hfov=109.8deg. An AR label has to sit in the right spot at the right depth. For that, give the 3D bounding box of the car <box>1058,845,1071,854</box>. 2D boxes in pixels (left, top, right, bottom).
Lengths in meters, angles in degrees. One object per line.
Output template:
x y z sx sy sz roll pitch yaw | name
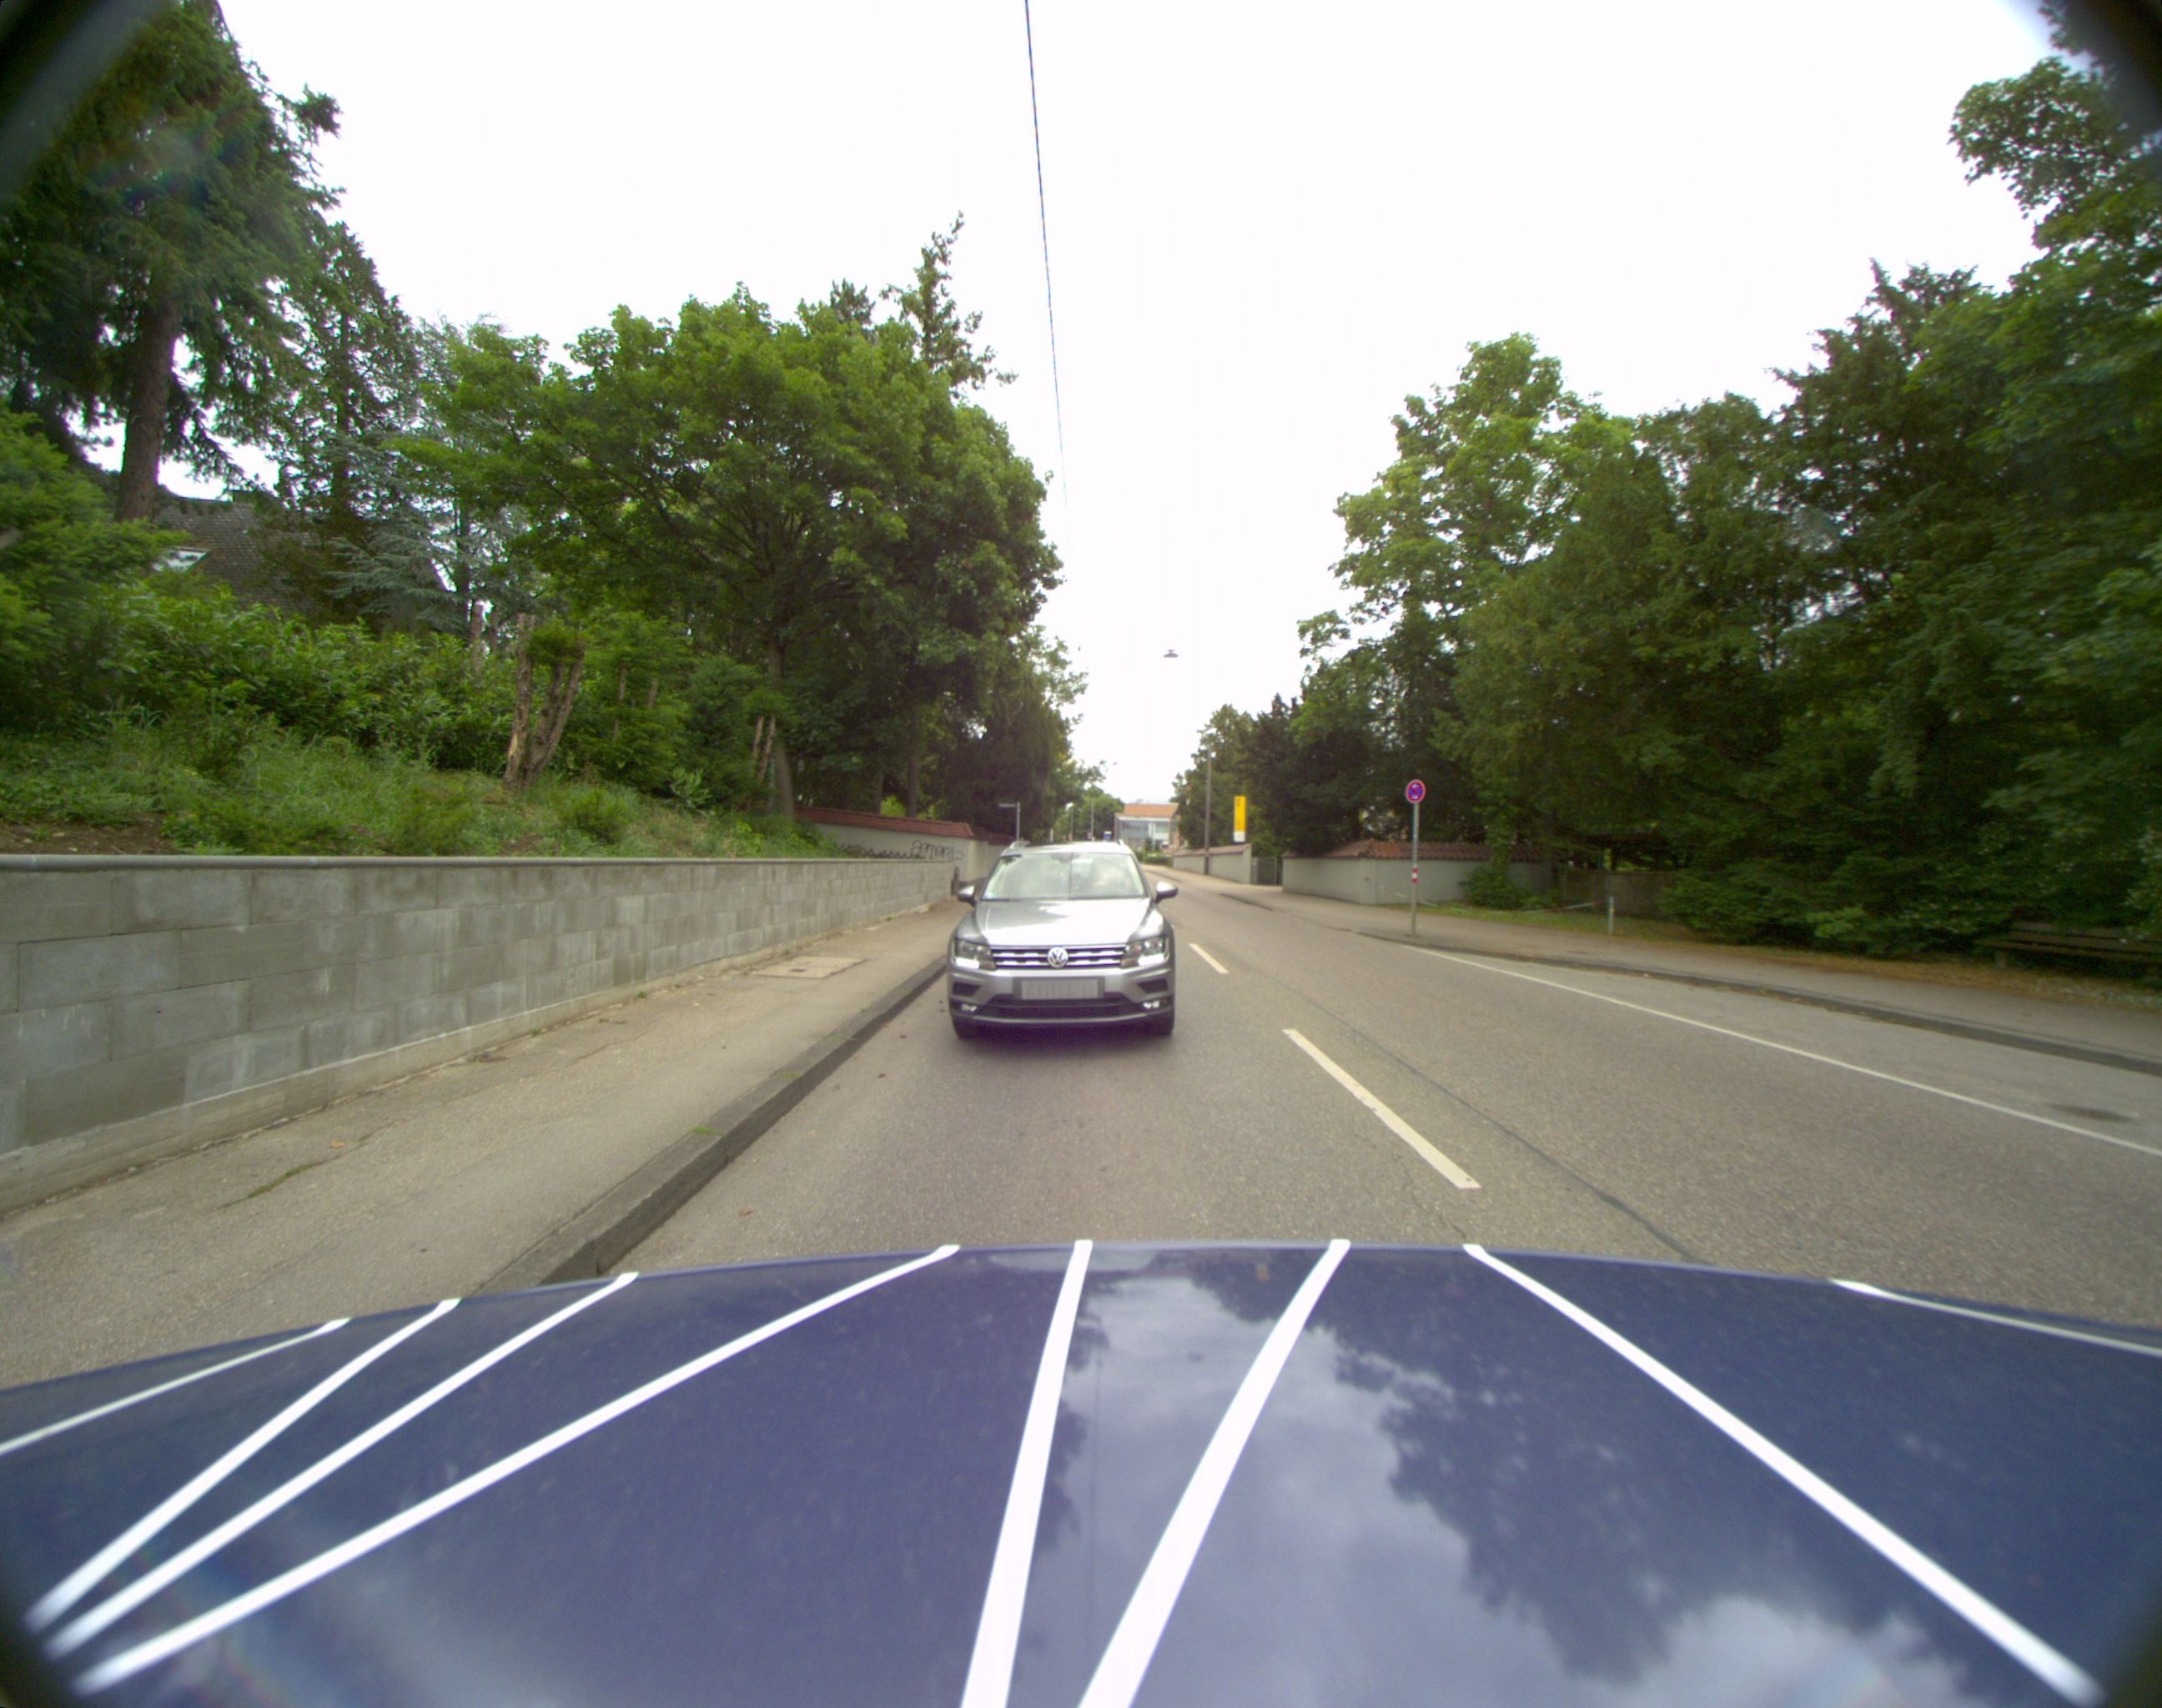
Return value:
-2.924 -0.839 135.080 1.878 1.647 4.252 0 1 -8 | car

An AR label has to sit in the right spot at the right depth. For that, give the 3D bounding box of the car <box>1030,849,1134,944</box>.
0.031 0.737 15.597 1.820 1.647 4.487 0 1 0 | car

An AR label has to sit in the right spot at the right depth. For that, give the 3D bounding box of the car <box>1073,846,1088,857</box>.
-0.104 -0.461 115.161 1.878 1.647 4.253 0 1 -5 | car

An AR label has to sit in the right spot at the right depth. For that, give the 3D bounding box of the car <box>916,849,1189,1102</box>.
-0.179 0.813 7.518 1.820 1.690 4.718 -1 0 0 | car

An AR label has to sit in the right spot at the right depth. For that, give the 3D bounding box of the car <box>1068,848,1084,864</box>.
-0.565 0.185 88.198 1.820 1.733 4.487 0 1 0 | car
